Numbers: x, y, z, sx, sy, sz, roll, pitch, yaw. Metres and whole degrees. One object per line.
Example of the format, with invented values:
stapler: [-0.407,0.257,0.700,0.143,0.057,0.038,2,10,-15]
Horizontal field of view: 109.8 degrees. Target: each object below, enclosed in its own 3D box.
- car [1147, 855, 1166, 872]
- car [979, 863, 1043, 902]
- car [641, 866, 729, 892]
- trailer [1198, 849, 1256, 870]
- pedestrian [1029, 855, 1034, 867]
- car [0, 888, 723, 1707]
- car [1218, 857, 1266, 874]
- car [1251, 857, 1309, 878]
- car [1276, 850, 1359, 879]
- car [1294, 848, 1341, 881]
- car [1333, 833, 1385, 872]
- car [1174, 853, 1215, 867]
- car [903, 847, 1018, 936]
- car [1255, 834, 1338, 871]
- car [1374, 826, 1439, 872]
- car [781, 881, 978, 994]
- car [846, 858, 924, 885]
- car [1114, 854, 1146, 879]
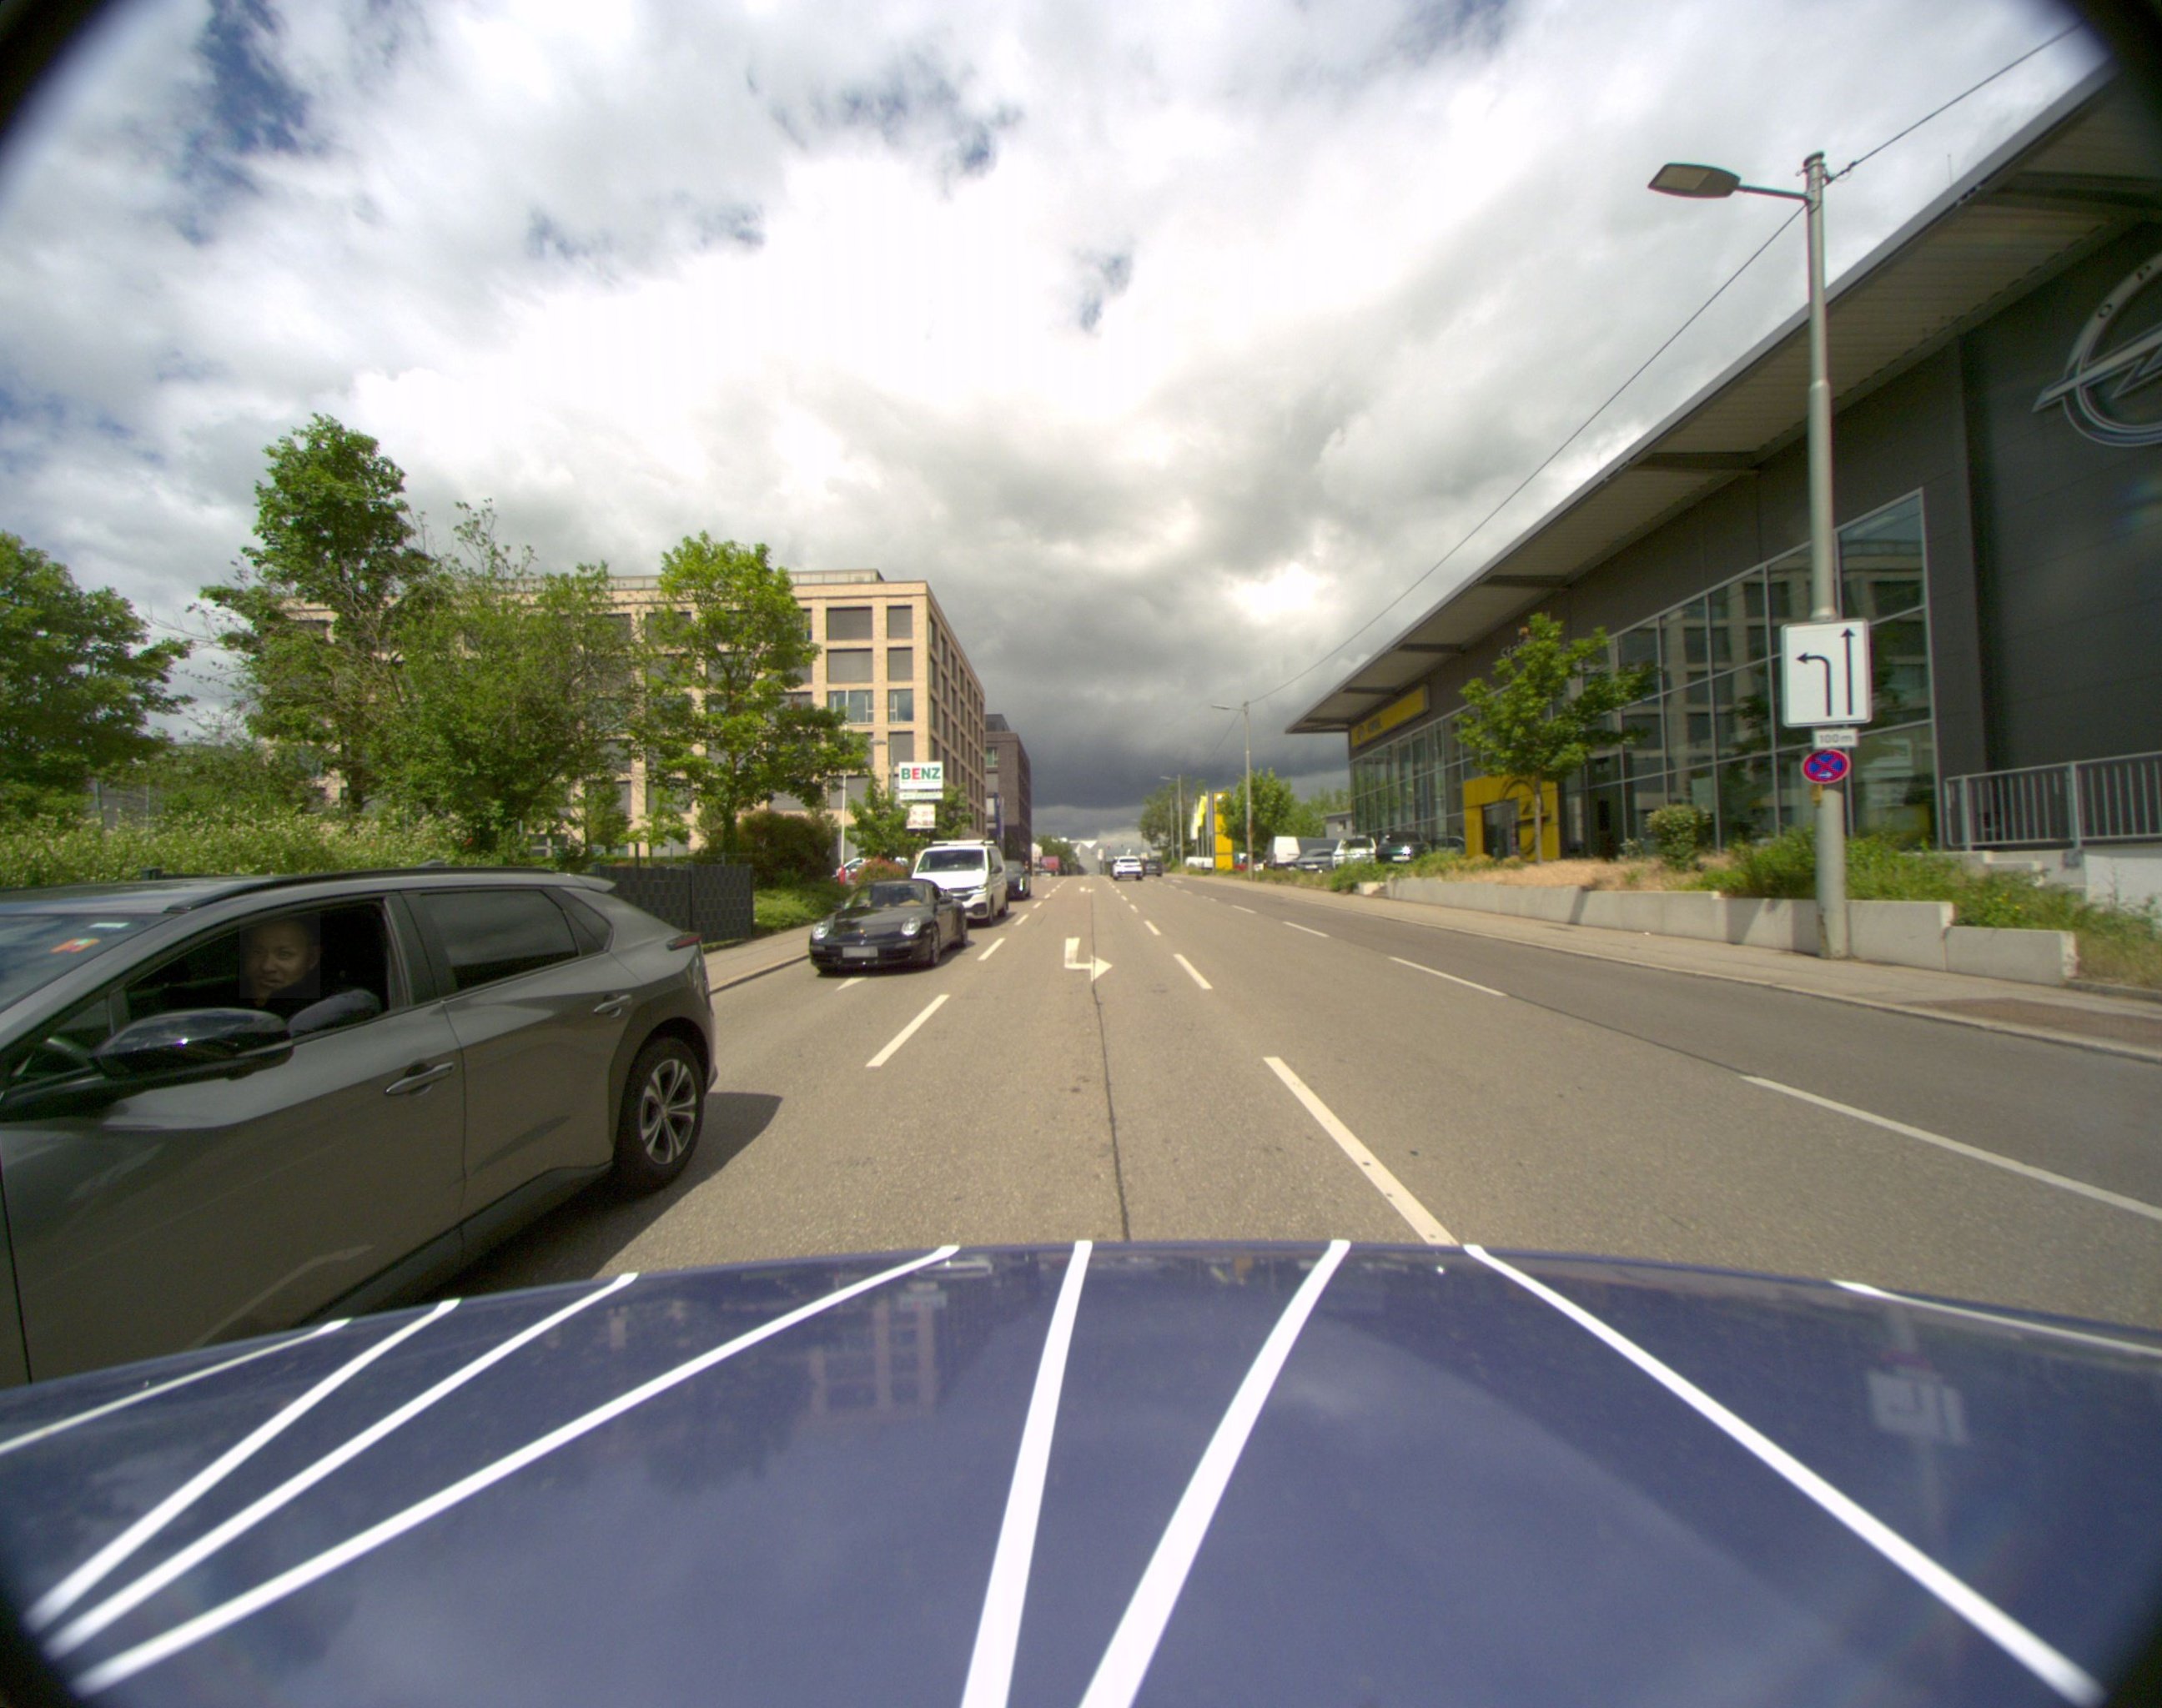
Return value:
car: [7.051,0.883,71.076,1.762,1.513,3.959,-1,0,5]
car: [-2.603,1.043,29.236,1.777,1.267,4.569,-1,0,3]
car: [-23.376,1.462,44.952,4.219,1.410,1.735,-1,0,-1]
trailer: [13.150,0.495,68.685,4.835,1.742,2.095,-1,0,-3]
pedestrian: [-5.912,0.822,90.566,0.578,1.497,0.542,-1,1,1]
car: [-2.985,1.024,1.808,1.924,1.604,4.683,-3,0,1]
car: [13.709,0.985,64.799,3.669,1.401,1.815,-1,0,2]
car: [14.964,1.025,57.289,3.946,1.518,1.561,-1,0,-2]
car: [13.338,0.575,43.016,4.108,1.604,1.797,-1,0,-8]
car: [12.199,0.496,39.044,1.794,1.604,4.116,-1,0,24]
car: [12.334,-0.084,33.593,1.793,1.604,4.115,-1,1,25]
car: [12.554,0.625,84.385,4.252,1.473,2.095,-1,0,-2]
car: [-2.793,0.828,18.774,1.964,1.840,4.645,-3,0,1]
car: [13.501,-0.104,47.819,4.531,2.182,2.179,-1,1,-1]
car: [12.330,-0.173,28.619,1.817,1.604,4.117,1,0,29]
car: [-2.957,1.180,12.267,1.777,1.267,4.569,-3,0,2]
car: [-11.656,1.031,45.415,4.220,1.567,1.735,-1,0,-4]
car: [3.293,0.842,52.226,1.924,1.604,4.416,-2,0,1]
